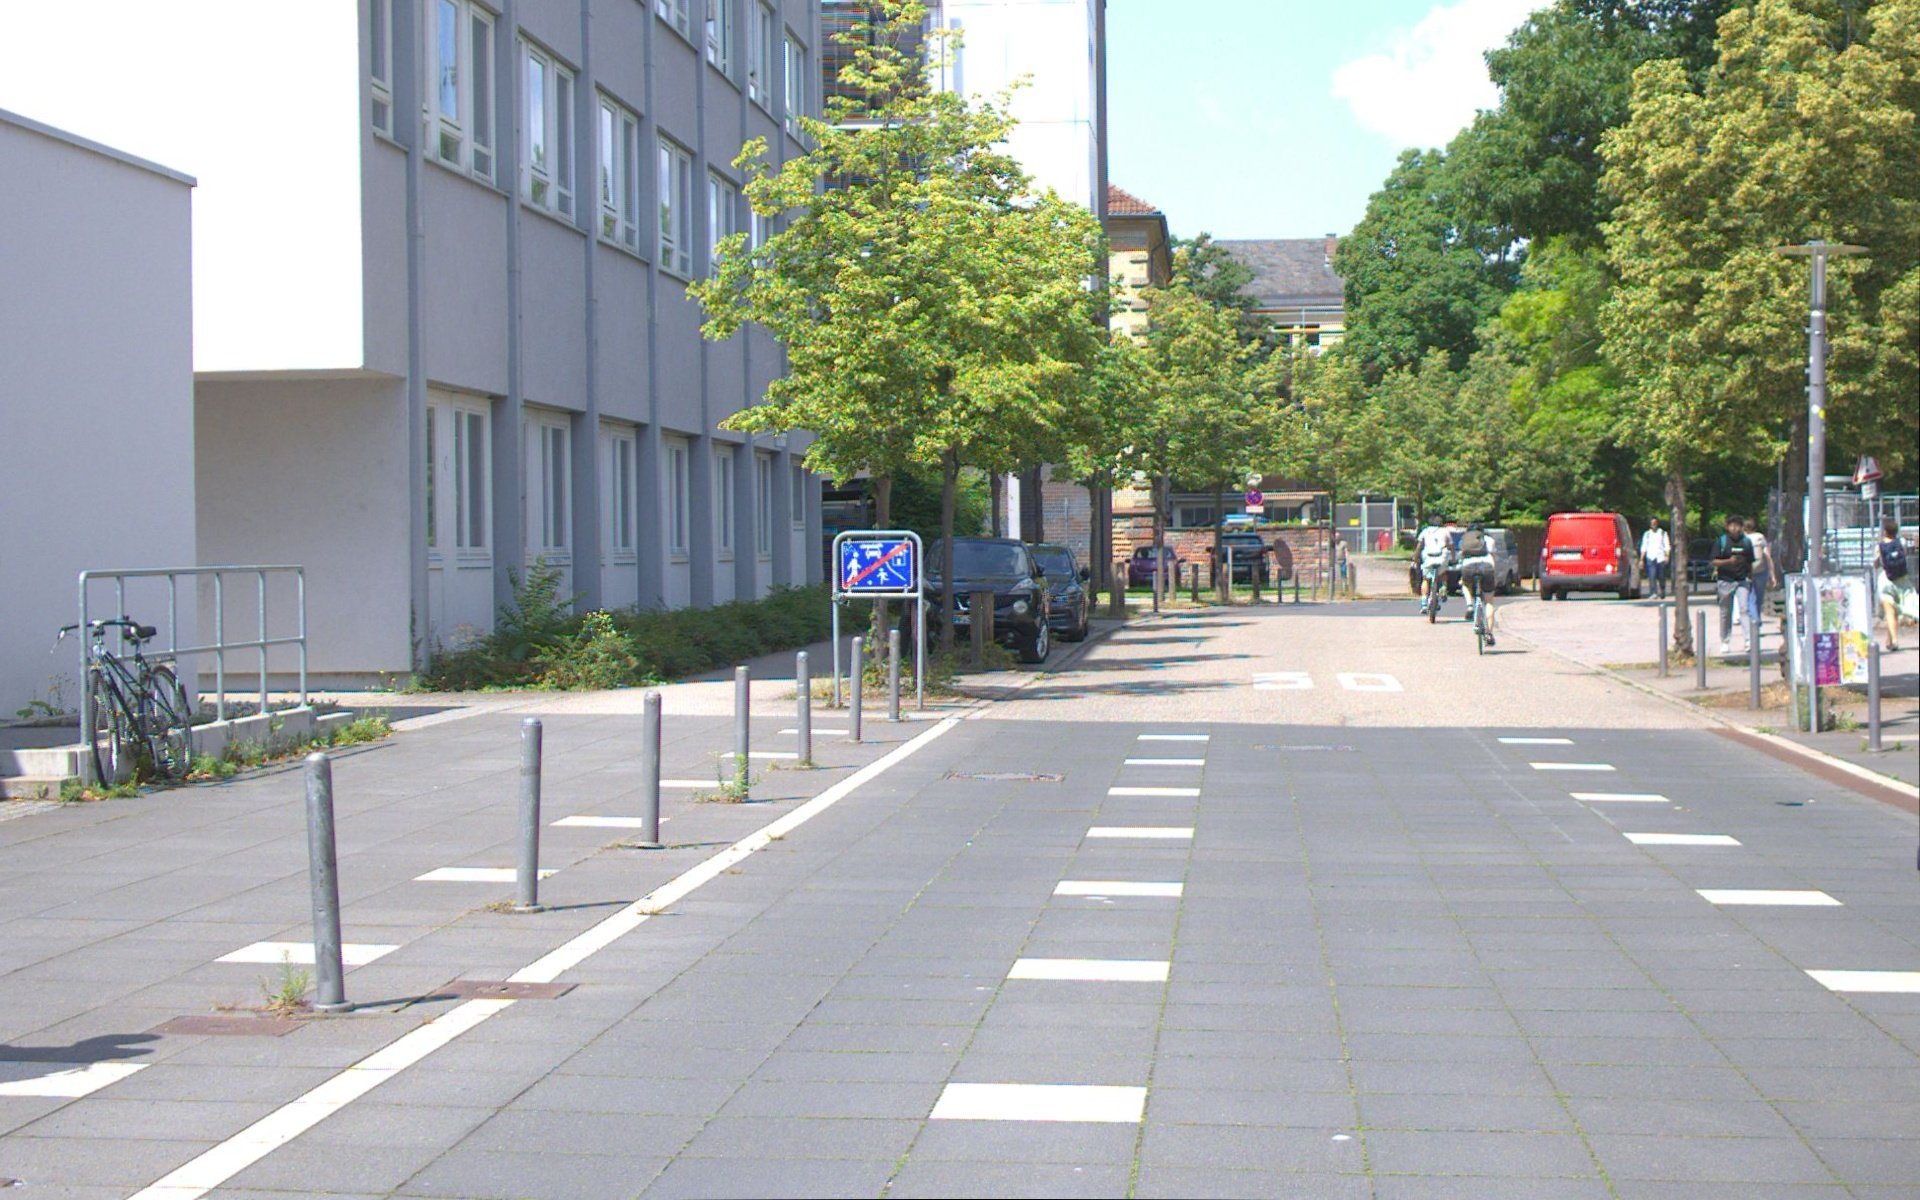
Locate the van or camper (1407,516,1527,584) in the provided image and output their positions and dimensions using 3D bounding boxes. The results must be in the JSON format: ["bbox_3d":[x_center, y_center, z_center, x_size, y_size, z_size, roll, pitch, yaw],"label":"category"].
[{"bbox_3d":[14.615,-1.467,98.907,1.956,1.916,5.413,1,1,25],"label":"van or camper"}]

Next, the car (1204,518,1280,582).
[{"bbox_3d":[8.814,-1.562,107.732,2.175,1.919,5.186,-1,1,3],"label":"car"}]

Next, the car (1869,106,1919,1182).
[{"bbox_3d":[3.162,0.157,5.569,2.059,2.534,5.849,-1,1,3],"label":"car"}]

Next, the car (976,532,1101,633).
[{"bbox_3d":[1.234,-0.300,52.485,1.778,1.456,4.259,0,1,3],"label":"car"}]

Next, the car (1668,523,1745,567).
[{"bbox_3d":[26.649,-1.986,122.684,1.762,1.516,4.106,0,1,26],"label":"car"}]

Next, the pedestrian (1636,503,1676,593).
[{"bbox_3d":[14.016,-1.047,69.229,0.695,1.775,0.787,-1,1,7],"label":"pedestrian"}]

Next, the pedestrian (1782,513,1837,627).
[{"bbox_3d":[12.090,-0.435,48.951,0.669,1.594,0.985,-1,1,11],"label":"pedestrian"}]

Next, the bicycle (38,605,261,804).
[{"bbox_3d":[-4.698,0.585,20.052,0.543,1.058,1.898,-1,1,10],"label":"bicycle"}]

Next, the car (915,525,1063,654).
[{"bbox_3d":[0.414,-0.166,44.237,1.697,1.558,4.068,-1,1,3],"label":"car"}]

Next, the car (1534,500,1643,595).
[{"bbox_3d":[13.249,-1.121,72.238,1.849,1.885,4.887,-1,1,15],"label":"car"}]

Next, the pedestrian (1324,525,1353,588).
[{"bbox_3d":[10.687,-1.237,97.042,0.584,1.758,0.910,-1,1,19],"label":"pedestrian"}]

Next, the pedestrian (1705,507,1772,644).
[{"bbox_3d":[9.749,-0.309,43.065,0.641,1.691,0.792,-1,1,0],"label":"pedestrian"}]

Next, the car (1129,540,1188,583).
[{"bbox_3d":[6.244,-1.224,107.939,1.817,1.319,3.767,-1,1,4],"label":"car"}]

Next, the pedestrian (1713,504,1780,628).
[{"bbox_3d":[11.354,-0.497,49.630,0.850,1.758,0.715,-1,1,8],"label":"pedestrian"}]

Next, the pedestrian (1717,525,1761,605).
[{"bbox_3d":[17.889,-0.799,78.951,0.721,1.815,0.630,-1,1,-31],"label":"pedestrian"}]

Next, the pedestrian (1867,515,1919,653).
[{"bbox_3d":[11.541,-0.207,42.168,0.649,1.660,0.904,-1,1,7],"label":"pedestrian"}]
